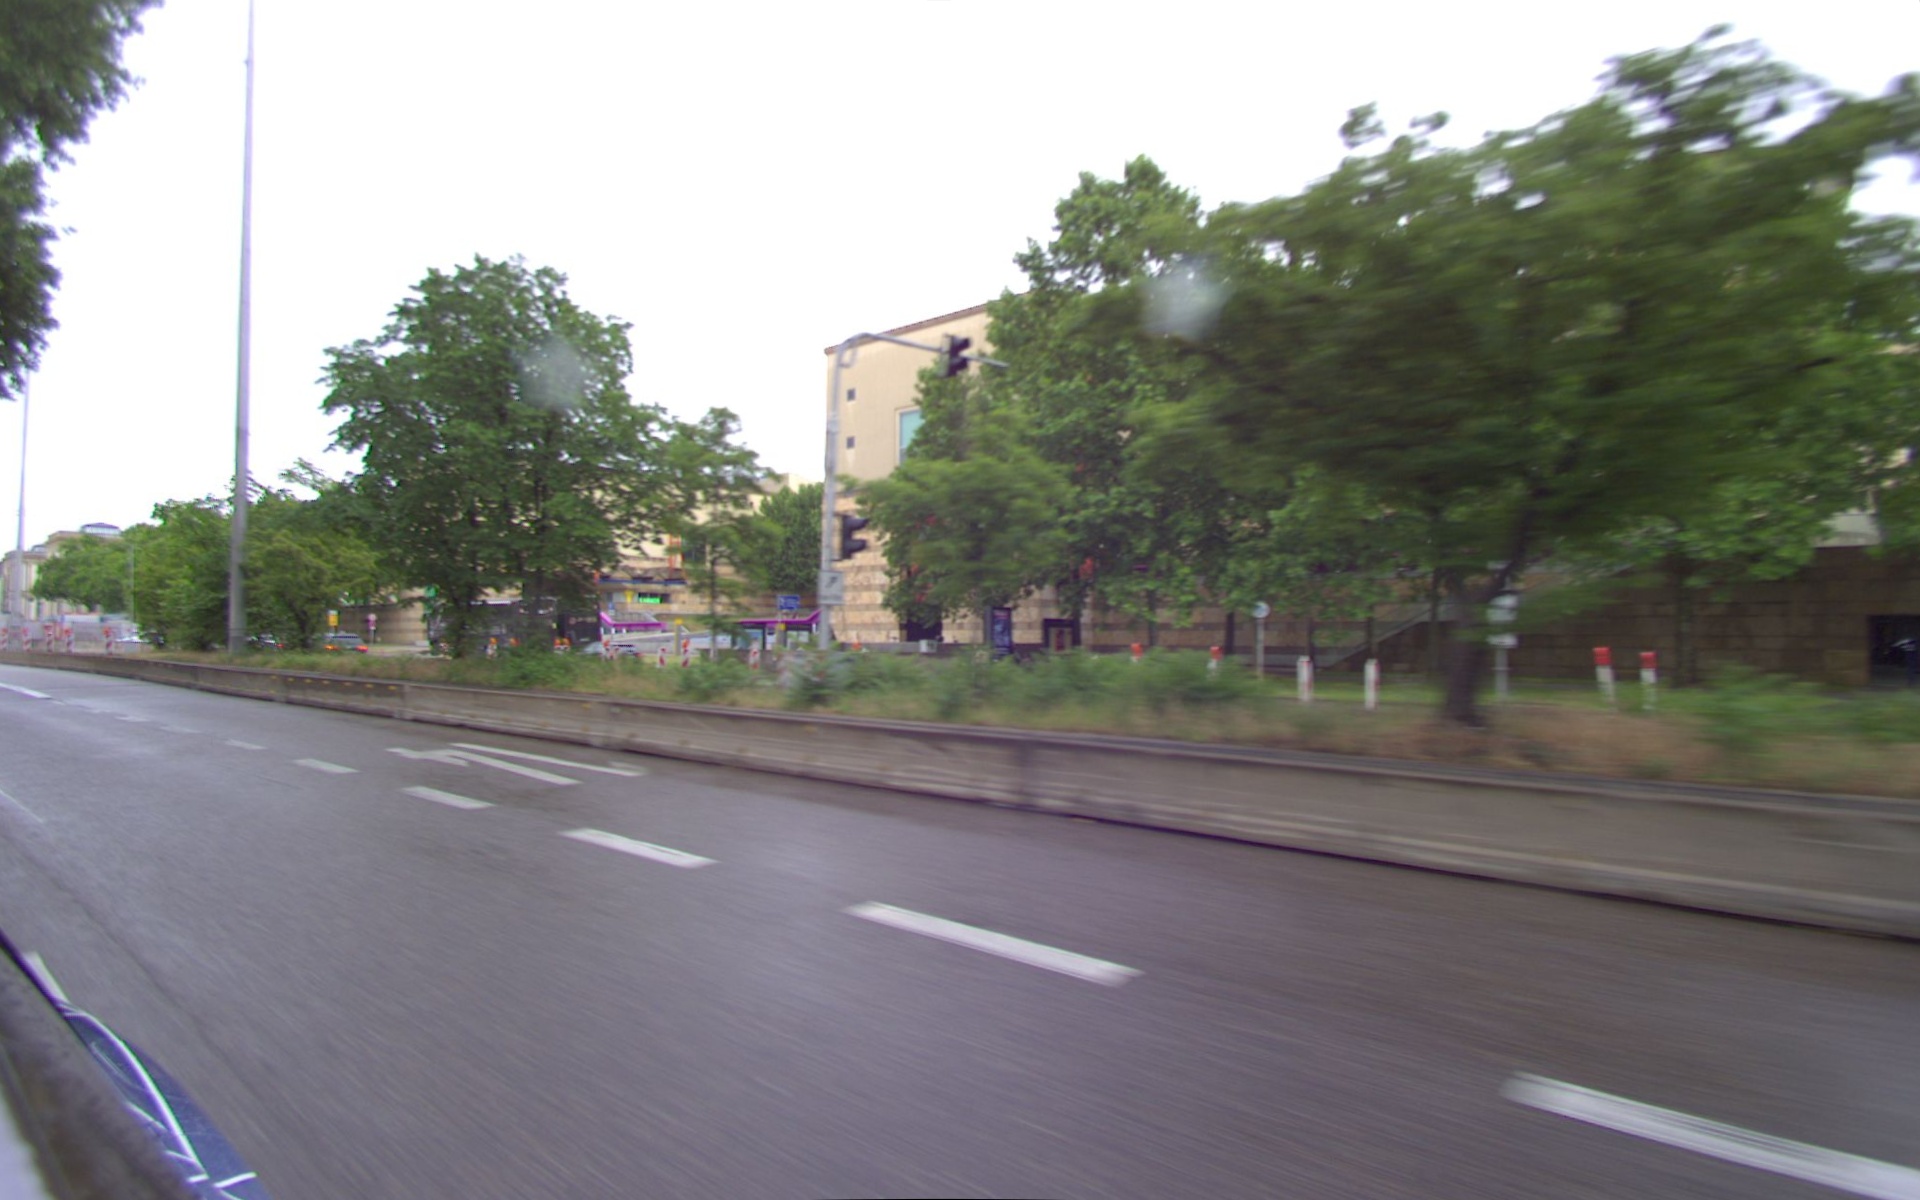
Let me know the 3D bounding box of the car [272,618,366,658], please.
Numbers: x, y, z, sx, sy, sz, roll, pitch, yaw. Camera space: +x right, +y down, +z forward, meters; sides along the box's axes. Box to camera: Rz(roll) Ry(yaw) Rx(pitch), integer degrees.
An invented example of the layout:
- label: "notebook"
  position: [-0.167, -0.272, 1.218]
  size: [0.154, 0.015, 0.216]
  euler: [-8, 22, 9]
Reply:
- label: "car"
  position: [-27.160, 1.612, 42.848]
  size: [3.991, 1.608, 1.976]
  euler: [-1, -3, 36]

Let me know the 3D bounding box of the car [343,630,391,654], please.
- label: "car"
  position: [-38.975, 2.761, 66.489]
  size: [3.209, 1.512, 1.577]
  euler: [-1, -2, 37]

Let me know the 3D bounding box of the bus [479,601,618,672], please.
- label: "bus"
  position: [-27.140, 2.327, 66.167]
  size: [13.494, 4.284, 3.085]
  euler: [-2, -1, 43]

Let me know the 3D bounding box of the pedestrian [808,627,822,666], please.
- label: "pedestrian"
  position: [-7.773, 2.491, 54.350]
  size: [0.511, 2.029, 0.473]
  euler: [-1, -4, 40]

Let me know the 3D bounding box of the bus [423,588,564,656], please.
- label: "bus"
  position: [-29.228, 1.396, 62.792]
  size: [14.598, 3.840, 2.773]
  euler: [-2, -1, 43]
